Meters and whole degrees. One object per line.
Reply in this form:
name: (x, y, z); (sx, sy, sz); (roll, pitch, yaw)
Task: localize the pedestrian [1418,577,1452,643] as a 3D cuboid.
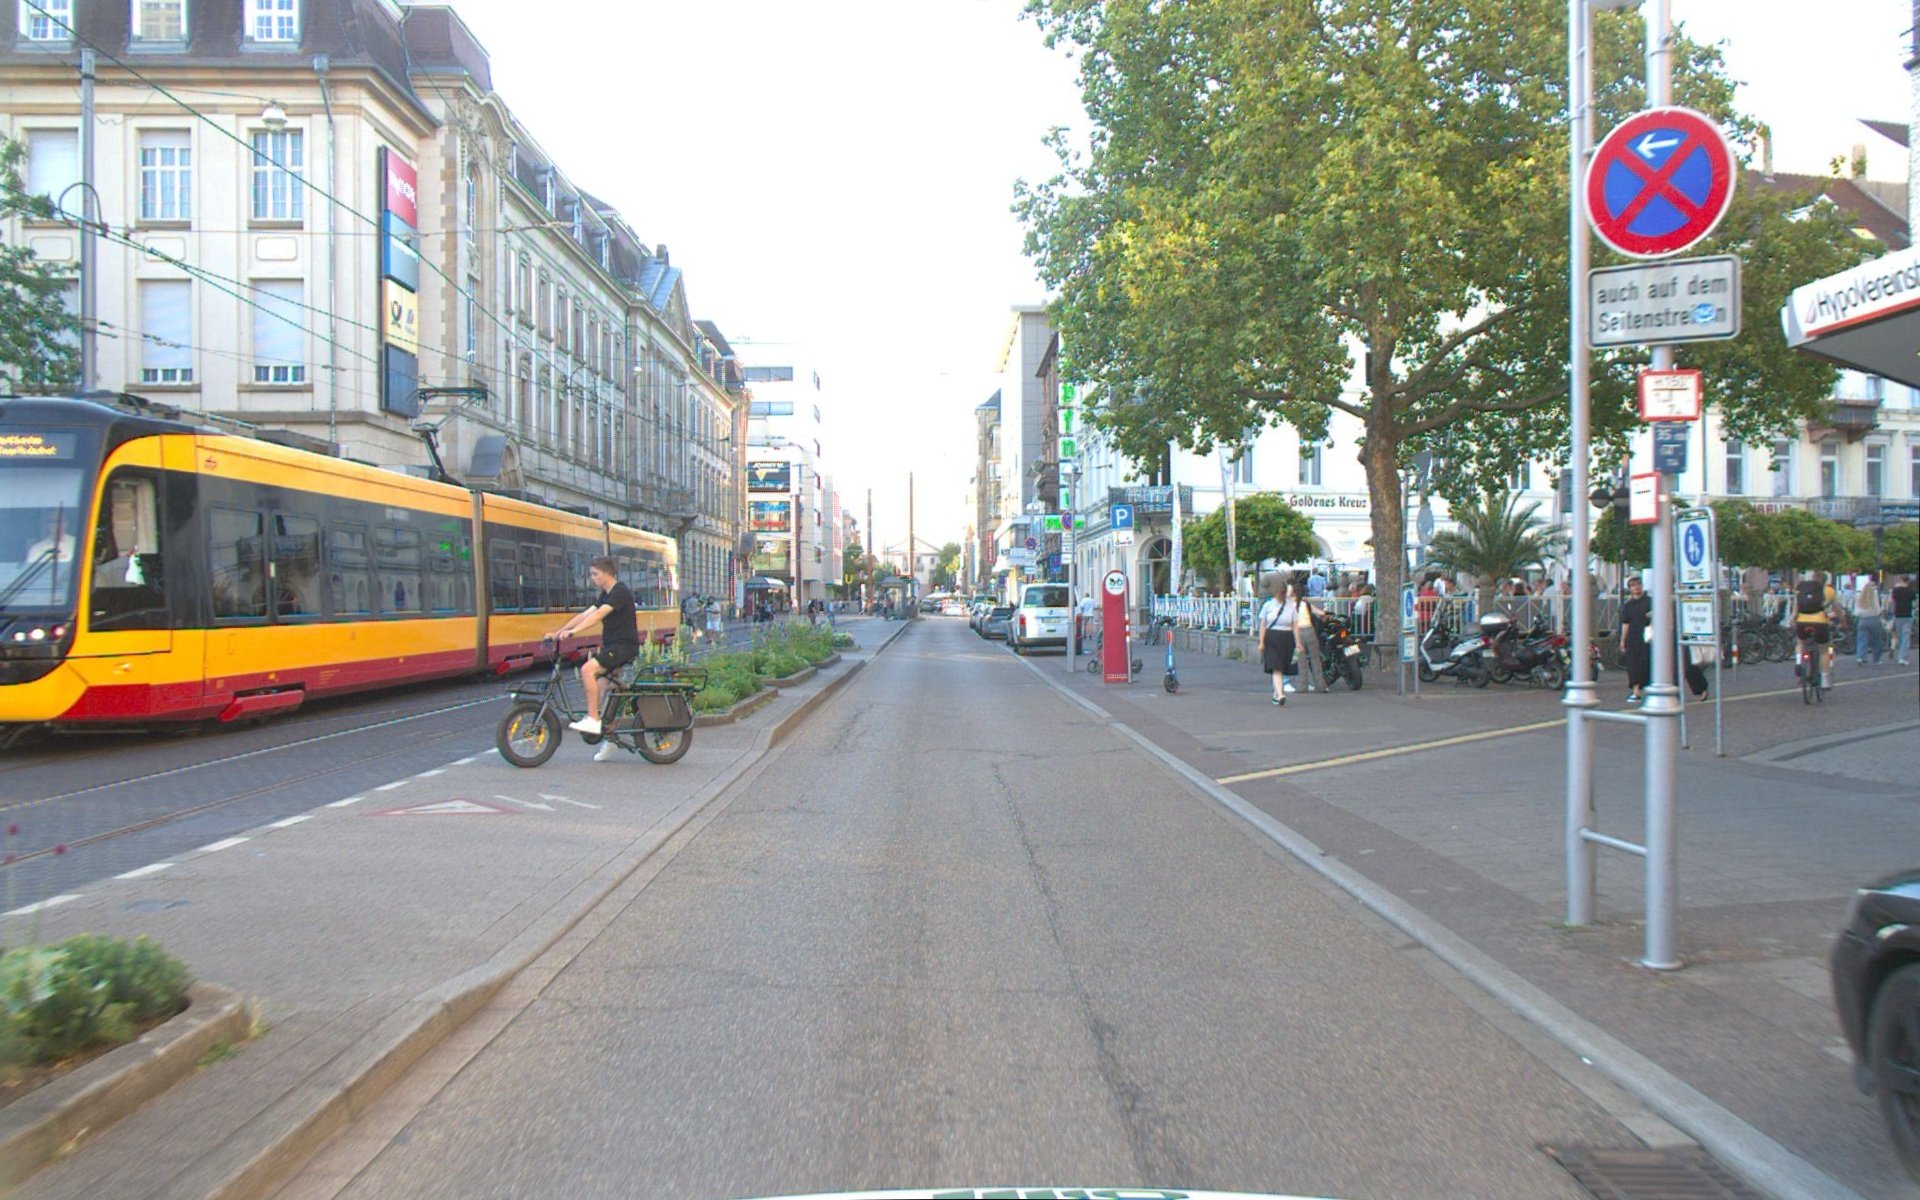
pedestrian: (9.641, 0.210, 33.571); (0.630, 1.307, 0.741); (-1, -2, 15)

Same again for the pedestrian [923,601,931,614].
pedestrian: (-4.421, 1.010, 220.386); (0.768, 1.765, 0.809); (-2, -3, 39)

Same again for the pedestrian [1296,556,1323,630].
pedestrian: (11.296, -0.225, 53.494); (0.604, 2.345, 0.577); (0, -2, -23)

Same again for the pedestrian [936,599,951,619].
pedestrian: (-1.627, 0.845, 162.607); (1.210, 1.962, 1.017); (0, 0, -17)

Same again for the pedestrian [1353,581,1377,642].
pedestrian: (8.705, 0.254, 35.577); (0.463, 1.307, 0.540); (-1, -2, 13)

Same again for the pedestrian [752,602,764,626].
pedestrian: (-13.600, 0.918, 111.210); (0.760, 1.608, 0.676); (0, 0, -13)

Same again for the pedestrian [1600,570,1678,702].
pedestrian: (9.336, 0.493, 22.740); (0.816, 1.772, 0.649); (1, -3, -39)

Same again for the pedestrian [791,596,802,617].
pedestrian: (-15.462, 0.629, 156.468); (0.891, 1.962, 0.847); (0, 0, -17)

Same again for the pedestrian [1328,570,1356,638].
pedestrian: (9.178, 0.111, 39.740); (0.605, 1.599, 0.631); (-1, -2, 13)

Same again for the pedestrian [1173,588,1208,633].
pedestrian: (6.900, 0.326, 49.554); (0.884, 1.329, 0.966); (-1, -2, -2)

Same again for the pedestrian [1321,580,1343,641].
pedestrian: (8.552, 0.247, 38.037); (0.463, 1.388, 0.540); (-1, -2, 13)

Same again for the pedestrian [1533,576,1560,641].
pedestrian: (12.068, 0.181, 34.044); (0.464, 1.307, 0.540); (-1, -2, 15)

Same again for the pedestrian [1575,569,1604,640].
pedestrian: (12.834, 0.102, 33.720); (0.464, 1.424, 0.540); (-1, -2, 15)

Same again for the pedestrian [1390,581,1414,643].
pedestrian: (9.521, 0.261, 35.600); (0.464, 1.307, 0.540); (-1, -2, 15)

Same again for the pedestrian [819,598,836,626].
pedestrian: (-8.207, 0.748, 102.385); (1.027, 1.715, 0.908); (0, 0, -1)

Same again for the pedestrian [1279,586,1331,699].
pedestrian: (5.422, 0.663, 26.001); (0.664, 1.747, 0.654); (-1, -2, 1)

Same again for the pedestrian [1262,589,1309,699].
pedestrian: (5.246, 0.713, 26.665); (0.601, 1.747, 0.662); (-1, -2, 1)

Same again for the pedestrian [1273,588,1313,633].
pedestrian: (9.855, 0.307, 48.983); (0.944, 1.289, 0.905); (-1, -2, -1)

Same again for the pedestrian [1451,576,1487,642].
pedestrian: (10.256, 0.190, 33.339); (0.630, 1.307, 0.741); (-1, -2, 15)

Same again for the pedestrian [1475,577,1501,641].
pedestrian: (10.989, 0.197, 34.410); (0.464, 1.307, 0.540); (-1, -2, 15)

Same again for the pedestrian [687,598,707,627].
pedestrian: (-15.344, 0.719, 96.466); (1.033, 1.715, 0.903); (0, 0, -20)

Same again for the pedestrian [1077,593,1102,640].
pedestrian: (4.964, 0.631, 63.332); (0.772, 1.782, 0.893); (0, -2, -8)

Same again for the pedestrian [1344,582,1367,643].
pedestrian: (8.659, 0.274, 36.201); (0.463, 1.307, 0.540); (-1, -2, 13)

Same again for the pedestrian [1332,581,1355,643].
pedestrian: (8.544, 0.267, 36.810); (0.463, 1.353, 0.540); (-1, -2, 13)

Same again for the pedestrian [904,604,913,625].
pedestrian: (-3.947, 1.094, 126.207); (0.601, 1.550, 0.619); (0, -2, -10)

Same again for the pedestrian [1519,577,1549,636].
pedestrian: (12.937, 0.157, 37.267); (0.527, 1.307, 0.475); (-1, -2, 9)

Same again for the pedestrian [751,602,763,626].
pedestrian: (-13.763, 0.914, 112.007); (0.764, 1.608, 0.676); (0, 0, -13)

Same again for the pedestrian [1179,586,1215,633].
pedestrian: (6.948, 0.295, 48.507); (0.884, 1.337, 0.966); (-1, -2, -2)

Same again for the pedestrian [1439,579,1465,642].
pedestrian: (10.360, 0.225, 34.836); (0.464, 1.307, 0.540); (-1, -2, 15)

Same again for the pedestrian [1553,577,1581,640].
pedestrian: (12.722, 0.180, 34.680); (0.464, 1.307, 0.540); (-1, -2, 15)

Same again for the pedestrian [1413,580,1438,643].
pedestrian: (9.919, 0.249, 35.240); (0.466, 1.307, 0.525); (-1, -2, 16)

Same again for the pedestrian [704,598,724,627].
pedestrian: (-14.672, 0.728, 98.565); (1.033, 1.715, 0.903); (0, 0, -20)

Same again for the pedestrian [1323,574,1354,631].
pedestrian: (11.302, 0.092, 49.425); (0.742, 1.672, 0.659); (-1, -2, -2)

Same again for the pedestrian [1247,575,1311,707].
pedestrian: (4.559, 0.581, 23.666); (0.699, 1.835, 0.824); (-2, -1, 2)

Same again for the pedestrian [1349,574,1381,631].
pedestrian: (12.117, 0.074, 49.475); (0.742, 1.672, 0.659); (-1, -2, -1)

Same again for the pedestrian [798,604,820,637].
pedestrian: (-7.957, 1.079, 87.084); (1.030, 1.715, 0.906); (0, -2, -10)

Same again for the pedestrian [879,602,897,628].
pedestrian: (-4.826, 0.985, 111.148); (1.026, 1.715, 0.909); (-1, -2, 10)

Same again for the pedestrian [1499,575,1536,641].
pedestrian: (11.264, 0.178, 33.459); (0.630, 1.307, 0.741); (-1, -2, 15)
